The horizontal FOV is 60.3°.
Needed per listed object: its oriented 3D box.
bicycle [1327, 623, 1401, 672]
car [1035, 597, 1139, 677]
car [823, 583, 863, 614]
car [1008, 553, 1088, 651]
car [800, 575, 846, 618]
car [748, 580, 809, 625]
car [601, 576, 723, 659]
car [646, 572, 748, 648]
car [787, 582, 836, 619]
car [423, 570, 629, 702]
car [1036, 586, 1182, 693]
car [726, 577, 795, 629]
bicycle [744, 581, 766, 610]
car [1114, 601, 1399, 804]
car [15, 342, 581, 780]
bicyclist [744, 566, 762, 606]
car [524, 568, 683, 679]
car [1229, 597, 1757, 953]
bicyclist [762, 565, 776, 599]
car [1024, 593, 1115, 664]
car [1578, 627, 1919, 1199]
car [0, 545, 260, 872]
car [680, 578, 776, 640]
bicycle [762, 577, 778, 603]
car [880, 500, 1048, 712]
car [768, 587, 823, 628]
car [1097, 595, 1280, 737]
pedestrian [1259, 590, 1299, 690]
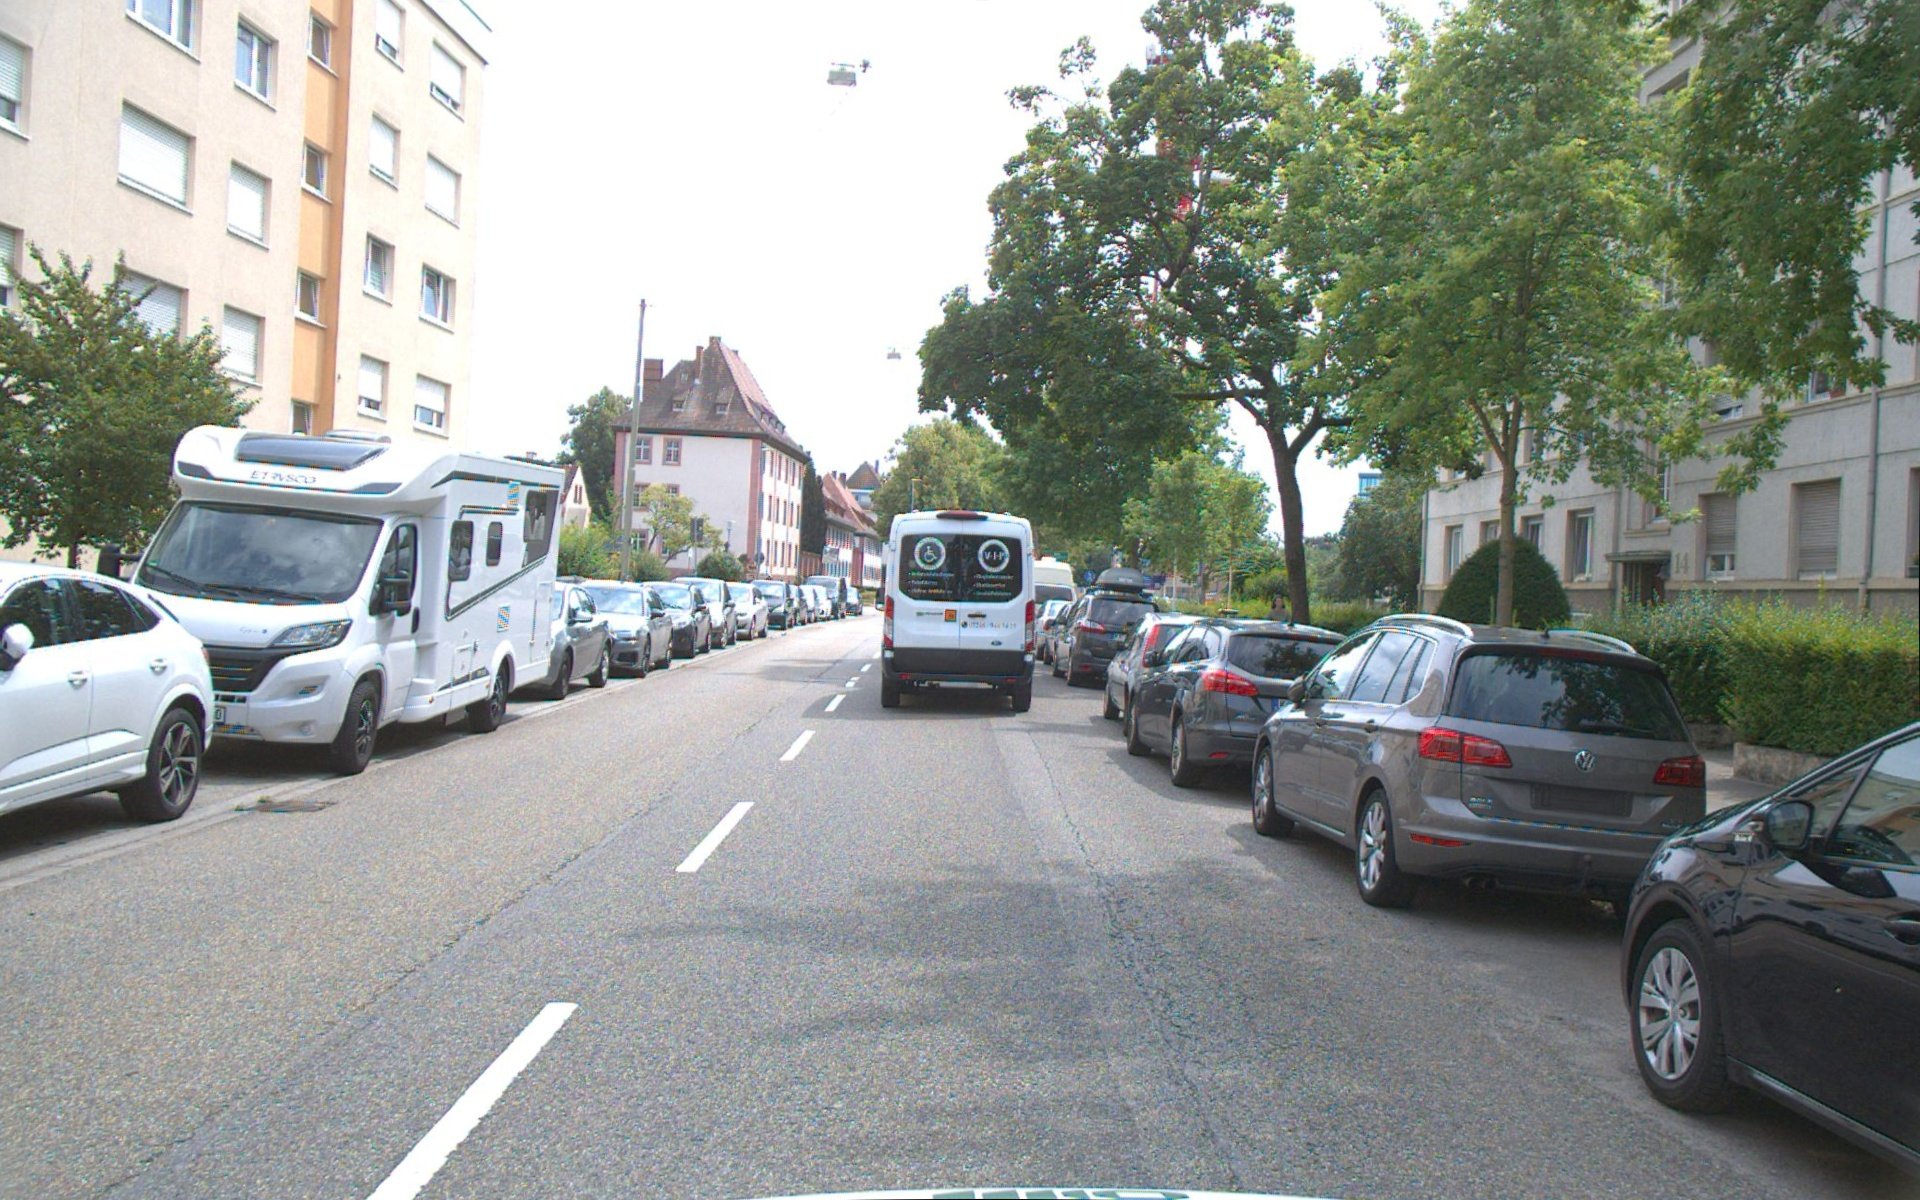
[{"bbox_3d":[8.269,0.980,33.898,1.360,0.933,0.513,2,1,-14],"label":"bicycle"},{"bbox_3d":[2.724,0.752,36.196,1.679,1.490,3.999,5,0,-3],"label":"car"},{"bbox_3d":[-6.297,-0.102,89.267,1.749,1.507,3.861,4,0,0],"label":"car"},{"bbox_3d":[2.575,0.046,49.472,1.859,2.631,4.828,5,0,-1],"label":"car"},{"bbox_3d":[-6.499,-0.172,78.789,1.749,1.858,3.974,4,0,0],"label":"car"},{"bbox_3d":[-6.720,0.074,61.681,1.749,1.487,3.861,4,0,0],"label":"car"},{"bbox_3d":[-6.167,0.328,34.725,1.706,1.522,4.784,4,0,-2],"label":"car"},{"bbox_3d":[-6.264,0.217,39.800,1.848,1.606,4.151,4,0,-2],"label":"car"},{"bbox_3d":[-6.579,0.021,73.731,1.749,1.507,3.861,4,0,0],"label":"car"},{"bbox_3d":[-5.845,0.430,22.831,1.655,1.522,4.592,4,0,-2],"label":"car"},{"bbox_3d":[2.687,0.662,31.100,1.889,1.690,5.322,5,0,-3],"label":"car"},{"bbox_3d":[-6.664,0.093,55.668,1.749,1.570,3.861,4,0,0],"label":"car"},{"bbox_3d":[-8.803,-0.194,70.944,0.530,1.195,2.093,2,0,4],"label":"bicycle"},{"bbox_3d":[2.605,0.830,15.541,1.585,1.495,4.389,4,0,-3],"label":"car"},{"bbox_3d":[-5.729,-0.314,15.919,2.460,3.076,7.394,4,0,-1],"label":"car"},{"bbox_3d":[-8.825,-0.582,70.425,0.525,1.682,1.048,2,0,4],"label":"bicyclist"},{"bbox_3d":[-5.974,0.340,28.308,1.849,1.606,5.215,4,0,-4],"label":"car"},{"bbox_3d":[2.998,0.872,10.342,1.626,1.610,4.283,5,0,-3],"label":"car"},{"bbox_3d":[-9.096,-0.847,78.908,0.525,1.613,0.692,2,0,2],"label":"bicyclist"},{"bbox_3d":[2.636,0.653,40.879,1.647,1.494,4.553,5,0,-3],"label":"car"},{"bbox_3d":[3.195,0.928,4.233,1.626,1.495,3.889,2,1,-2],"label":"car"},{"bbox_3d":[-5.626,0.505,9.044,1.655,1.606,4.592,4,0,-2],"label":"car"},{"bbox_3d":[-6.353,0.225,45.747,1.847,1.514,4.634,4,0,1],"label":"car"},{"bbox_3d":[-9.092,-0.473,79.237,0.530,1.195,1.349,2,0,2],"label":"bicycle"},{"bbox_3d":[-0.053,0.077,22.862,2.029,2.585,4.632,1,0,-3],"label":"car"},{"bbox_3d":[-6.624,0.292,66.932,1.749,1.487,3.861,4,0,0],"label":"car"},{"bbox_3d":[2.747,0.739,20.700,1.625,1.482,4.035,4,0,0],"label":"car"},{"bbox_3d":[5.996,0.745,31.132,0.514,1.860,0.521,2,0,-17],"label":"pedestrian"}]
